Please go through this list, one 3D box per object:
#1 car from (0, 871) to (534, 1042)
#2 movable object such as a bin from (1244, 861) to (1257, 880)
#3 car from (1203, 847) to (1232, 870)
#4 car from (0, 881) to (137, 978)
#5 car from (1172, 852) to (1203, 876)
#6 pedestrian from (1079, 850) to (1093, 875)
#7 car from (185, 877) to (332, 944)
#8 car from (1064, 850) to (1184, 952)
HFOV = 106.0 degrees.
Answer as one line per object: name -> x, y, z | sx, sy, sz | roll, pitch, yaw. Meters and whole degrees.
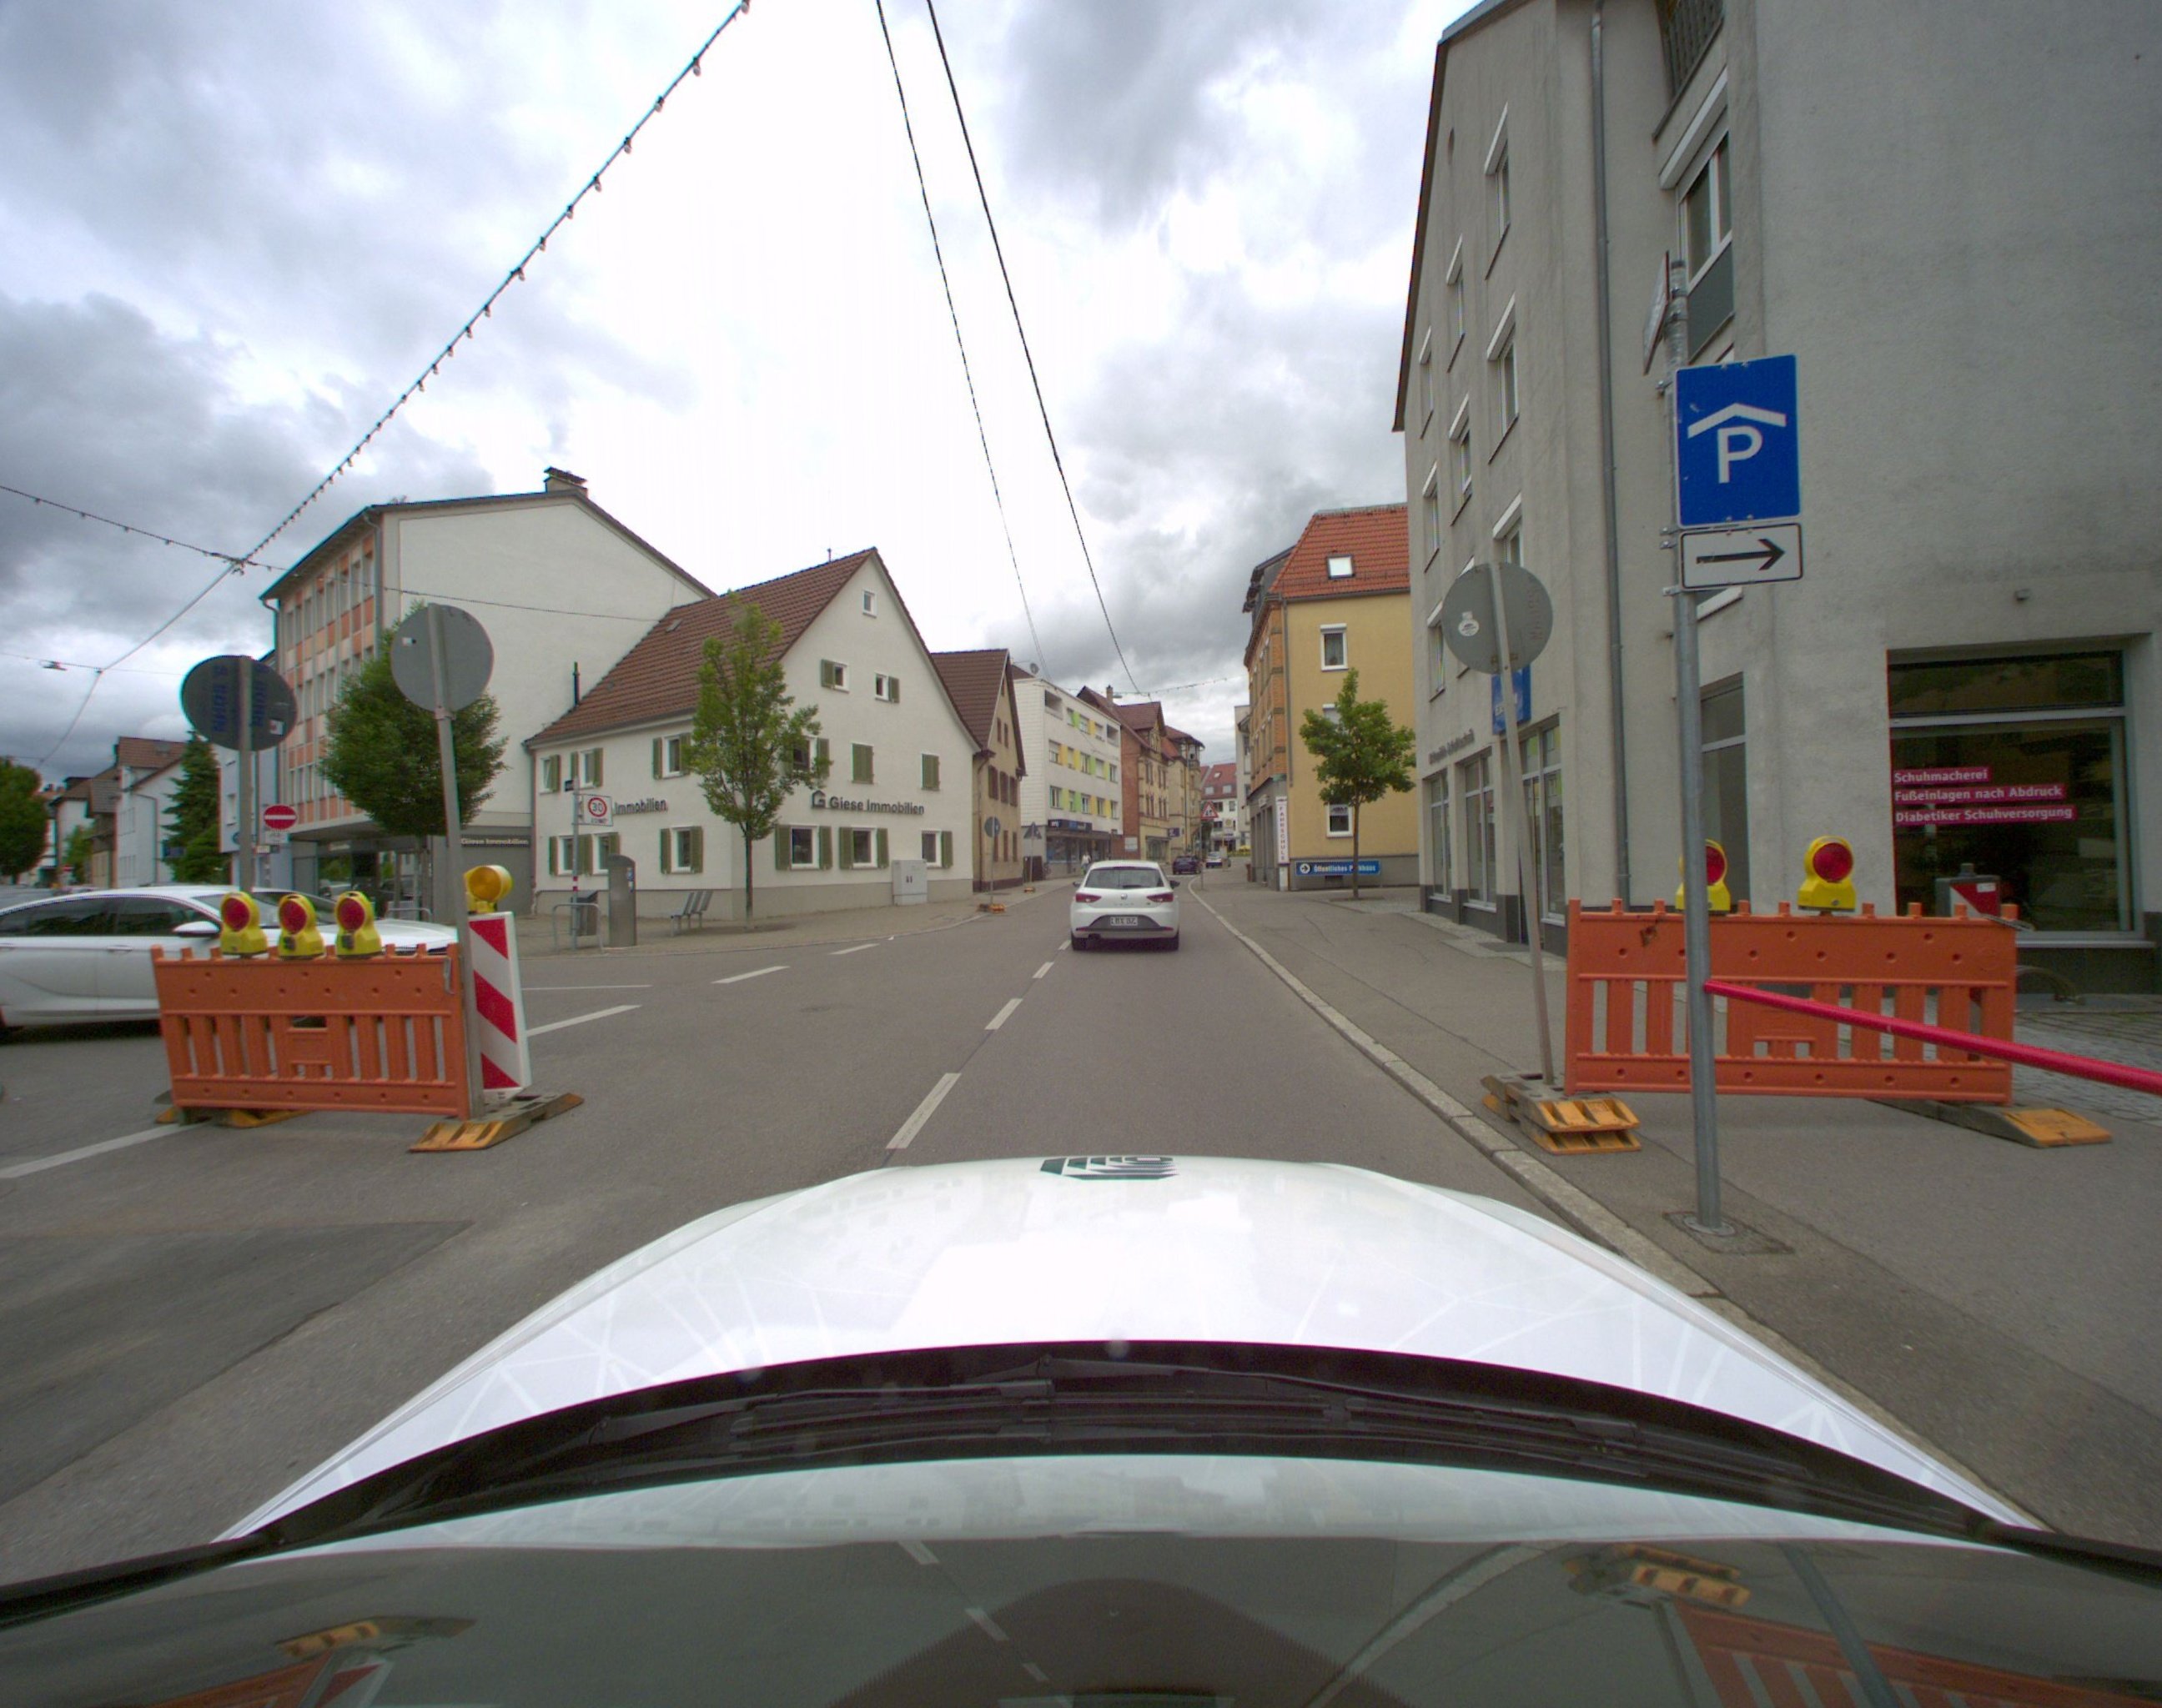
car -> -9.129, 0.981, 8.724 | 4.895, 1.477, 2.245 | -1, 0, -5
movable object such as a bin -> 8.521, 0.826, 40.940 | 0.615, 0.921, 0.583 | -2, 0, 10
car -> 12.477, 0.376, 74.392 | 1.978, 2.013, 4.018 | -2, 0, 17
car -> -20.362, 1.372, 15.635 | 2.031, 1.557, 4.862 | -1, 0, -38
car -> 7.669, 0.693, 58.456 | 1.799, 1.480, 3.885 | -2, 1, 13
pedestrian -> 0.339, 0.560, 54.649 | 0.888, 1.665, 0.862 | -2, 0, 3
car -> -22.853, 1.483, 22.582 | 4.855, 1.557, 2.034 | -1, 0, 35
car -> 0.879, 0.706, 14.284 | 1.802, 1.480, 3.878 | 0, 1, 7
